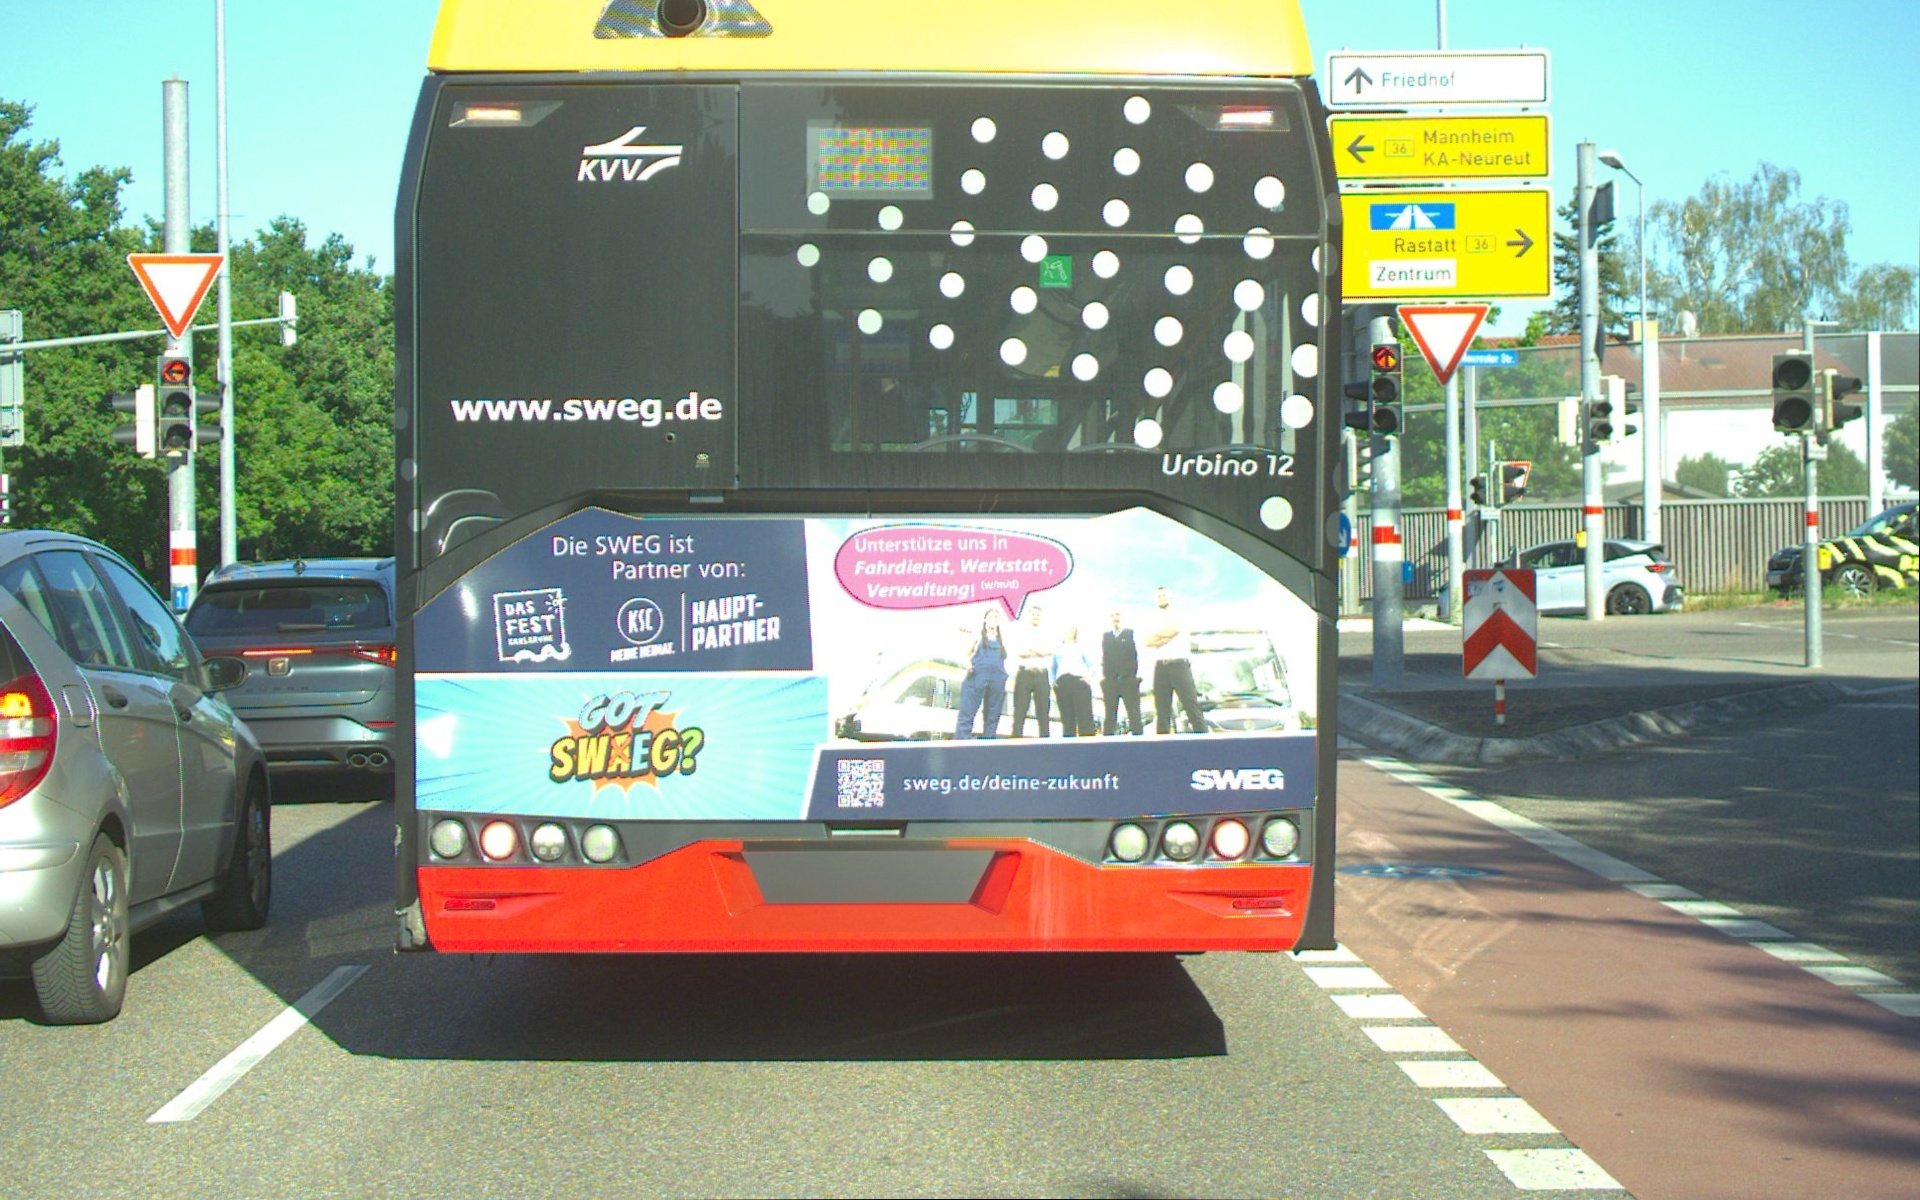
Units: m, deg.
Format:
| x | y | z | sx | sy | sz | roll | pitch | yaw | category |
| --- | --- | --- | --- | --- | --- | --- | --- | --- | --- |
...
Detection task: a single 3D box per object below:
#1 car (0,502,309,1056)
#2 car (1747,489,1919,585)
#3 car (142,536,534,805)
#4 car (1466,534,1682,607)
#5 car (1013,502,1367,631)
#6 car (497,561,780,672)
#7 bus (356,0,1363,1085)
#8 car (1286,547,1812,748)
| x | y | z | sx | sy | sz | roll | pitch | yaw | category |
| --- | --- | --- | --- | --- | --- | --- | --- | --- | --- |
| -3.584 | 0.485 | 12.239 | 1.754 | 1.614 | 4.034 | -1 | 2 | 0 | car |
| 13.218 | -0.856 | 47.775 | 4.159 | 1.298 | 1.575 | 0 | 0 | -3 | car |
| -3.701 | 0.385 | 21.012 | 1.588 | 1.480 | 3.682 | -1 | 0 | 2 | car |
| 10.887 | -0.525 | 60.988 | 3.586 | 1.261 | 1.352 | 0 | 1 | 20 | car |
| 2.858 | -0.415 | 43.278 | 4.220 | 1.557 | 1.763 | 0 | 0 | -5 | car |
| -4.653 | 0.239 | 49.610 | 3.986 | 1.547 | 1.696 | 0 | 0 | -7 | car |
| -0.333 | -0.510 | 14.920 | 2.596 | 3.323 | 11.984 | 0 | 1 | -1 | bus |
| 4.111 | 0.307 | 24.241 | 3.523 | 1.297 | 1.574 | 1 | 2 | 8 | car |
